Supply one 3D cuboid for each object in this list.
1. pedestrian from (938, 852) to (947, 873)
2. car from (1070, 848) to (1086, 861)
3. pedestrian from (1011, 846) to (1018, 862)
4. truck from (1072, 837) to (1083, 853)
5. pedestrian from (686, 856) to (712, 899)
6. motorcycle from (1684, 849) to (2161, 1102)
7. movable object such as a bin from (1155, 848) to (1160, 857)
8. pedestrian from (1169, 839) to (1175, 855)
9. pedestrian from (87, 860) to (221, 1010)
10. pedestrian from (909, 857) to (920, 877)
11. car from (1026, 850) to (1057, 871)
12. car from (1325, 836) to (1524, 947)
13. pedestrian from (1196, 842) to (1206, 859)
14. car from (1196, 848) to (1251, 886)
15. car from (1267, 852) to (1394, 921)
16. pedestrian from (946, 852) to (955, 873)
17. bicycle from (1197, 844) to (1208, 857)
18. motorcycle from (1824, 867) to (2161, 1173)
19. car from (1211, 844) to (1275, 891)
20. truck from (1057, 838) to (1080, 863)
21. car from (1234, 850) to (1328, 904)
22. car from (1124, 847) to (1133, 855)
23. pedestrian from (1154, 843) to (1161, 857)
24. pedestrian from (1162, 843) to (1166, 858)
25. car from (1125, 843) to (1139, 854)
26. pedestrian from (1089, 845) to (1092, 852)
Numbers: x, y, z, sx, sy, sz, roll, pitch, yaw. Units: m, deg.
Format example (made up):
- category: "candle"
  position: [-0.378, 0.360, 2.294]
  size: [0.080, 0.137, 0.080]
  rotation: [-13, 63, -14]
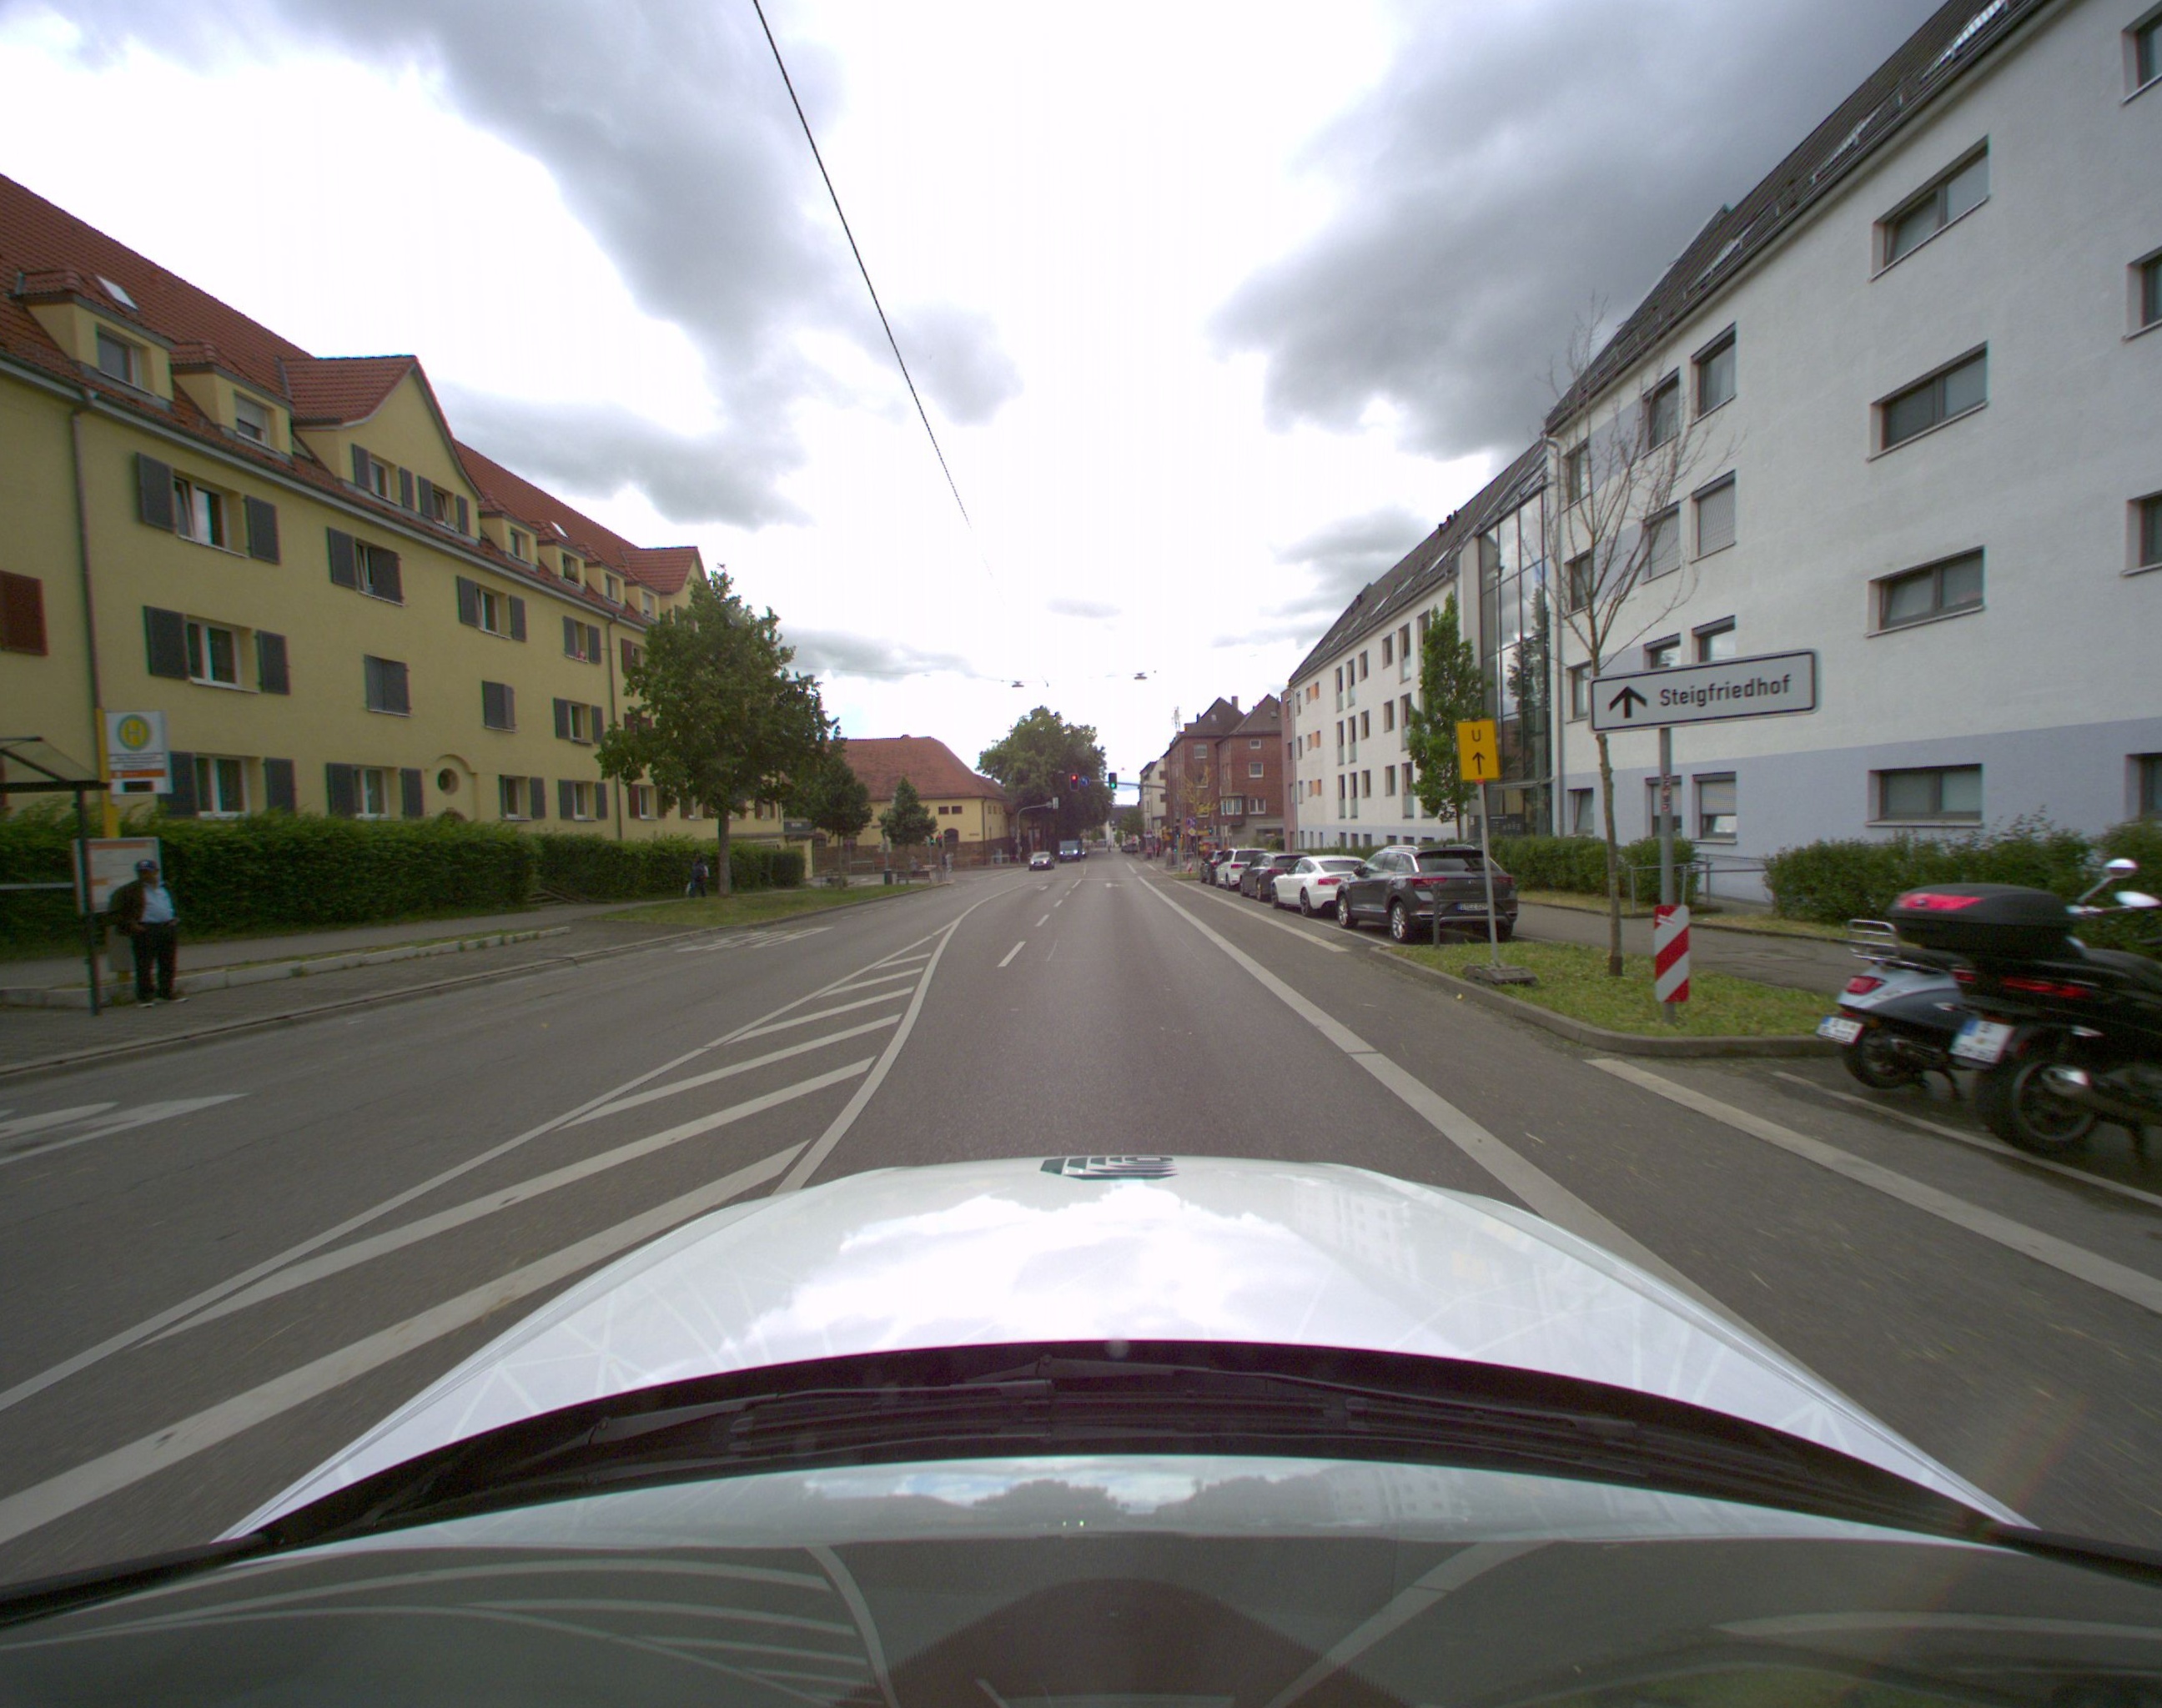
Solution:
- category: "pedestrian"
  position: [-11.859, 0.745, 69.873]
  size: [0.562, 1.777, 0.842]
  rotation: [-2, 0, 1]
- category: "car"
  position: [-0.386, 0.052, 104.309]
  size: [1.695, 1.414, 4.196]
  rotation: [-3, 1, 3]
- category: "pedestrian"
  position: [-7.503, -0.029, 91.948]
  size: [0.671, 1.765, 0.726]
  rotation: [-2, 0, 5]
- category: "truck"
  position: [-0.738, -1.993, 182.275]
  size: [2.223, 3.346, 7.451]
  rotation: [-2, 1, 1]
- category: "pedestrian"
  position: [-14.594, 0.899, 31.098]
  size: [0.638, 1.619, 0.618]
  rotation: [-2, 0, 0]
- category: "motorcycle"
  position: [5.294, 0.696, 5.093]
  size: [2.591, 1.380, 0.692]
  rotation: [-2, 0, -3]
- category: "movable object such as a bin"
  position: [8.757, -0.197, 93.152]
  size: [0.449, 1.056, 0.412]
  rotation: [-1, 0, 21]
- category: "pedestrian"
  position: [10.139, -0.768, 90.458]
  size: [0.644, 1.750, 0.779]
  rotation: [-1, 0, 7]
- category: "pedestrian"
  position: [-11.260, 0.949, 9.923]
  size: [0.594, 1.726, 0.862]
  rotation: [-1, 0, 4]
- category: "pedestrian"
  position: [-12.962, 1.018, 63.252]
  size: [0.561, 1.566, 0.844]
  rotation: [-1, 0, 7]
- category: "car"
  position: [-3.167, 0.519, 66.014]
  size: [1.747, 1.472, 4.314]
  rotation: [-3, 1, 6]
- category: "car"
  position: [5.831, 0.558, 14.448]
  size: [1.627, 1.650, 4.354]
  rotation: [0, 0, -1]
- category: "pedestrian"
  position: [11.815, -0.367, 80.057]
  size: [0.785, 1.656, 0.773]
  rotation: [-4, 0, 2]
- category: "car"
  position: [6.450, 0.558, 37.206]
  size: [1.729, 1.588, 4.572]
  rotation: [0, 0, 0]
- category: "car"
  position: [5.844, 0.693, 19.659]
  size: [1.724, 1.413, 4.500]
  rotation: [0, 1, 0]
- category: "pedestrian"
  position: [-11.105, 0.723, 69.274]
  size: [0.562, 1.777, 0.717]
  rotation: [-2, 0, 1]
- category: "bicycle"
  position: [11.877, -0.378, 79.672]
  size: [0.757, 1.193, 2.393]
  rotation: [-2, 1, 2]
- category: "motorcycle"
  position: [5.288, 0.730, 4.041]
  size: [2.591, 1.278, 0.752]
  rotation: [-2, 0, -3]
- category: "car"
  position: [6.294, 0.474, 32.150]
  size: [1.653, 1.716, 4.552]
  rotation: [0, 1, 0]
- category: "truck"
  position: [-1.312, -0.383, 86.066]
  size: [2.289, 2.427, 6.409]
  rotation: [-3, 1, -1]
- category: "car"
  position: [6.099, 0.632, 25.417]
  size: [1.740, 1.467, 4.949]
  rotation: [0, 1, 0]
- category: "car"
  position: [9.932, -0.613, 169.733]
  size: [1.664, 1.547, 3.755]
  rotation: [-2, 1, -1]
- category: "pedestrian"
  position: [8.792, -0.470, 93.358]
  size: [0.560, 1.636, 0.684]
  rotation: [-1, 0, 22]
- category: "pedestrian"
  position: [9.958, -0.428, 97.560]
  size: [0.477, 1.765, 0.458]
  rotation: [-2, 0, 1]
- category: "car"
  position: [9.130, -0.955, 145.807]
  size: [1.988, 1.935, 4.917]
  rotation: [-2, 1, -1]
- category: "pedestrian"
  position: [2.818, -1.584, 245.221]
  size: [0.631, 2.013, 0.785]
  rotation: [-2, 0, 3]
